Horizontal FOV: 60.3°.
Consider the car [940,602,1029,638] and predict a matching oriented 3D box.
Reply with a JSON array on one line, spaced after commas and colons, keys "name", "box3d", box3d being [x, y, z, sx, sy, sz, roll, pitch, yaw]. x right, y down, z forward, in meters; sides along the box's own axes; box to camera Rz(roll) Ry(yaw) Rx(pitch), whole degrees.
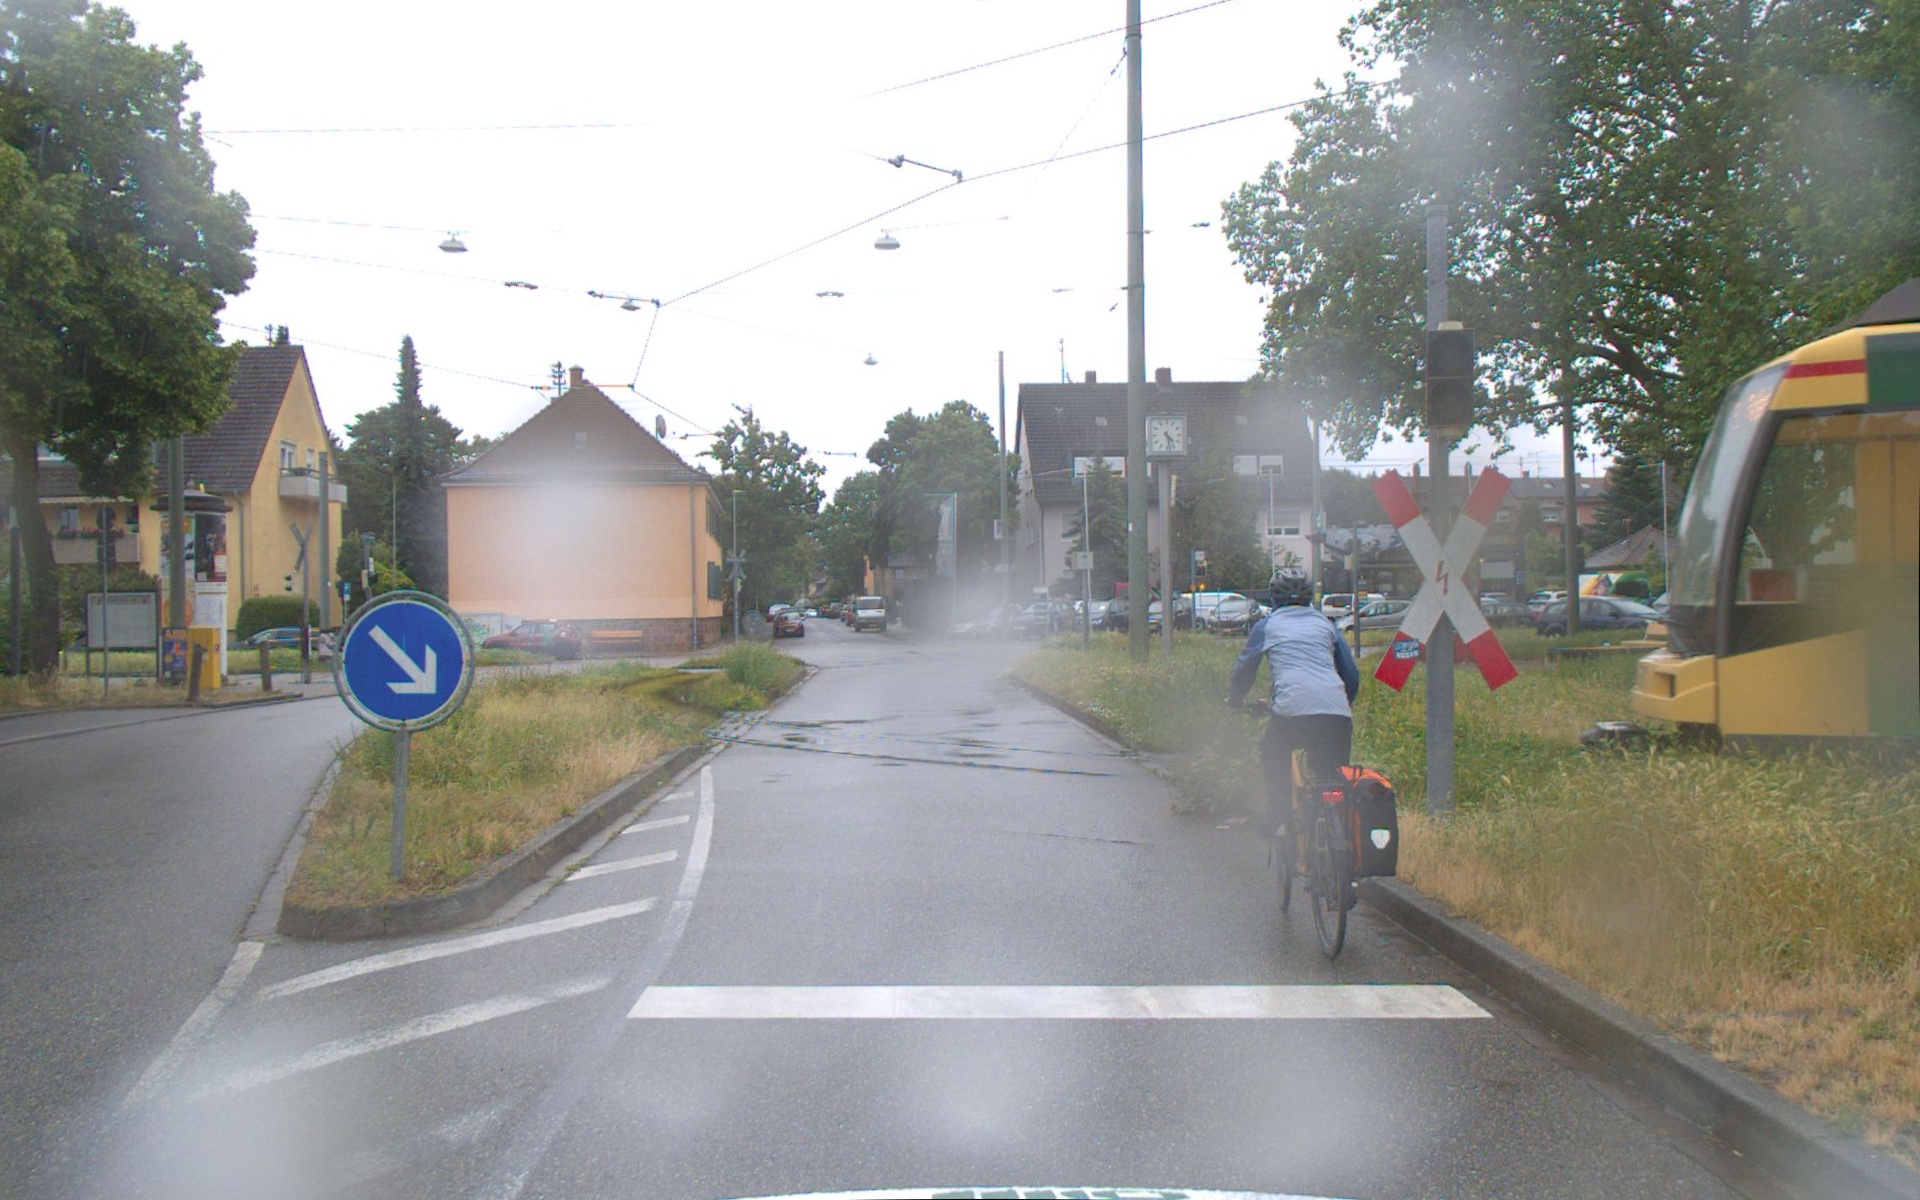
[{"name": "car", "box3d": [1.188, 0.960, 79.550, 3.956, 1.672, 1.974, 2, -1, -36]}]

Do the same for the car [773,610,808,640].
[{"name": "car", "box3d": [-9.724, 1.417, 95.163, 1.768, 1.680, 3.998, 1, -1, -3]}]

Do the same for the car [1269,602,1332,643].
[{"name": "car", "box3d": [14.615, 0.976, 70.781, 1.804, 1.669, 3.997, 1, -1, 24]}]

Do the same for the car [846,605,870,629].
[{"name": "car", "box3d": [-7.871, 1.302, 127.413, 1.768, 1.843, 3.998, 1, -1, -3]}]

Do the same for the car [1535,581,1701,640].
[{"name": "car", "box3d": [17.921, 0.280, 45.144, 3.848, 1.522, 1.798, 0, -1, 43]}]

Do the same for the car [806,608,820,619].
[{"name": "car", "box3d": [-20.261, 1.886, 227.676, 1.768, 1.486, 3.998, 1, -1, -3]}]

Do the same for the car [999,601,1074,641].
[{"name": "car", "box3d": [3.391, 0.917, 72.423, 1.954, 1.669, 3.997, 1, -1, 24]}]

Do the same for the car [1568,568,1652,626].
[{"name": "car", "box3d": [28.880, -0.091, 73.625, 1.953, 2.485, 4.352, 1, -1, -2]}]

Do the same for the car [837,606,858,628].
[{"name": "car", "box3d": [-9.967, 1.509, 146.865, 1.768, 1.843, 3.998, 1, -1, -3]}]

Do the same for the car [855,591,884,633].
[{"name": "car", "box3d": [-5.872, 0.805, 107.574, 1.768, 2.673, 3.998, 1, -1, -3]}]

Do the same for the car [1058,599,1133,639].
[{"name": "car", "box3d": [5.856, 0.832, 71.214, 1.954, 1.669, 3.997, 1, -1, 24]}]

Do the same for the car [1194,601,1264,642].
[{"name": "car", "box3d": [11.453, 0.917, 70.345, 1.954, 1.669, 3.997, 1, -1, 24]}]

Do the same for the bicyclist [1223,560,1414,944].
[{"name": "bicyclist", "box3d": [1.623, 0.665, 7.597, 0.653, 1.654, 0.852, 1, -1, -2]}]

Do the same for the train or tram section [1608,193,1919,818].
[{"name": "train or tram section", "box3d": [10.809, -0.661, 9.595, 12.811, 3.615, 2.772, -1, -1, 15]}]

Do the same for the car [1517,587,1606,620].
[{"name": "car", "box3d": [31.130, 0.193, 85.668, 3.905, 1.669, 1.846, 1, -1, 0]}]

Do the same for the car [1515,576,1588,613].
[{"name": "car", "box3d": [34.117, -0.278, 95.530, 1.963, 2.049, 3.978, 1, -1, -19]}]

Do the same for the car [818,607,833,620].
[{"name": "car", "box3d": [-17.074, 1.676, 210.604, 1.768, 1.591, 3.998, 1, -1, -3]}]

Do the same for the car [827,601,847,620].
[{"name": "car", "box3d": [-12.198, 1.054, 164.071, 1.768, 1.843, 3.998, 1, -1, -3]}]

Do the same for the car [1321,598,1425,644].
[{"name": "car", "box3d": [16.202, 0.816, 64.945, 3.609, 1.731, 1.890, 1, -1, 0]}]

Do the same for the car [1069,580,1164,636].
[{"name": "car", "box3d": [7.538, 0.402, 79.524, 4.301, 2.611, 2.001, 1, -1, 14]}]

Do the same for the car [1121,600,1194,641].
[{"name": "car", "box3d": [8.399, 0.862, 70.082, 1.954, 1.669, 3.997, 1, -1, 24]}]

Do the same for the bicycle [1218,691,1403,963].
[{"name": "bicycle", "box3d": [1.591, 0.990, 7.730, 0.437, 1.022, 1.727, -1, 0, -2]}]

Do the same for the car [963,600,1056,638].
[{"name": "car", "box3d": [2.284, 0.875, 76.499, 3.956, 1.705, 1.974, 2, -1, -36]}]

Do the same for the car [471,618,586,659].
[{"name": "car", "box3d": [-16.138, 1.432, 61.954, 3.911, 1.482, 1.831, 1, -1, -7]}]

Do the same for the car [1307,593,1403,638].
[{"name": "car", "box3d": [18.150, 0.721, 76.144, 3.907, 1.985, 1.999, 1, -1, -3]}]

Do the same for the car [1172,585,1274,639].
[{"name": "car", "box3d": [12.074, 0.558, 76.021, 4.307, 2.366, 1.999, 1, -1, -3]}]

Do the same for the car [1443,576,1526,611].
[{"name": "car", "box3d": [28.558, -0.336, 90.149, 3.904, 1.822, 2.000, 1, -1, 2]}]

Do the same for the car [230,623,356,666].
[{"name": "car", "box3d": [-24.394, 1.608, 60.589, 3.911, 1.482, 1.831, 1, -1, -7]}]
